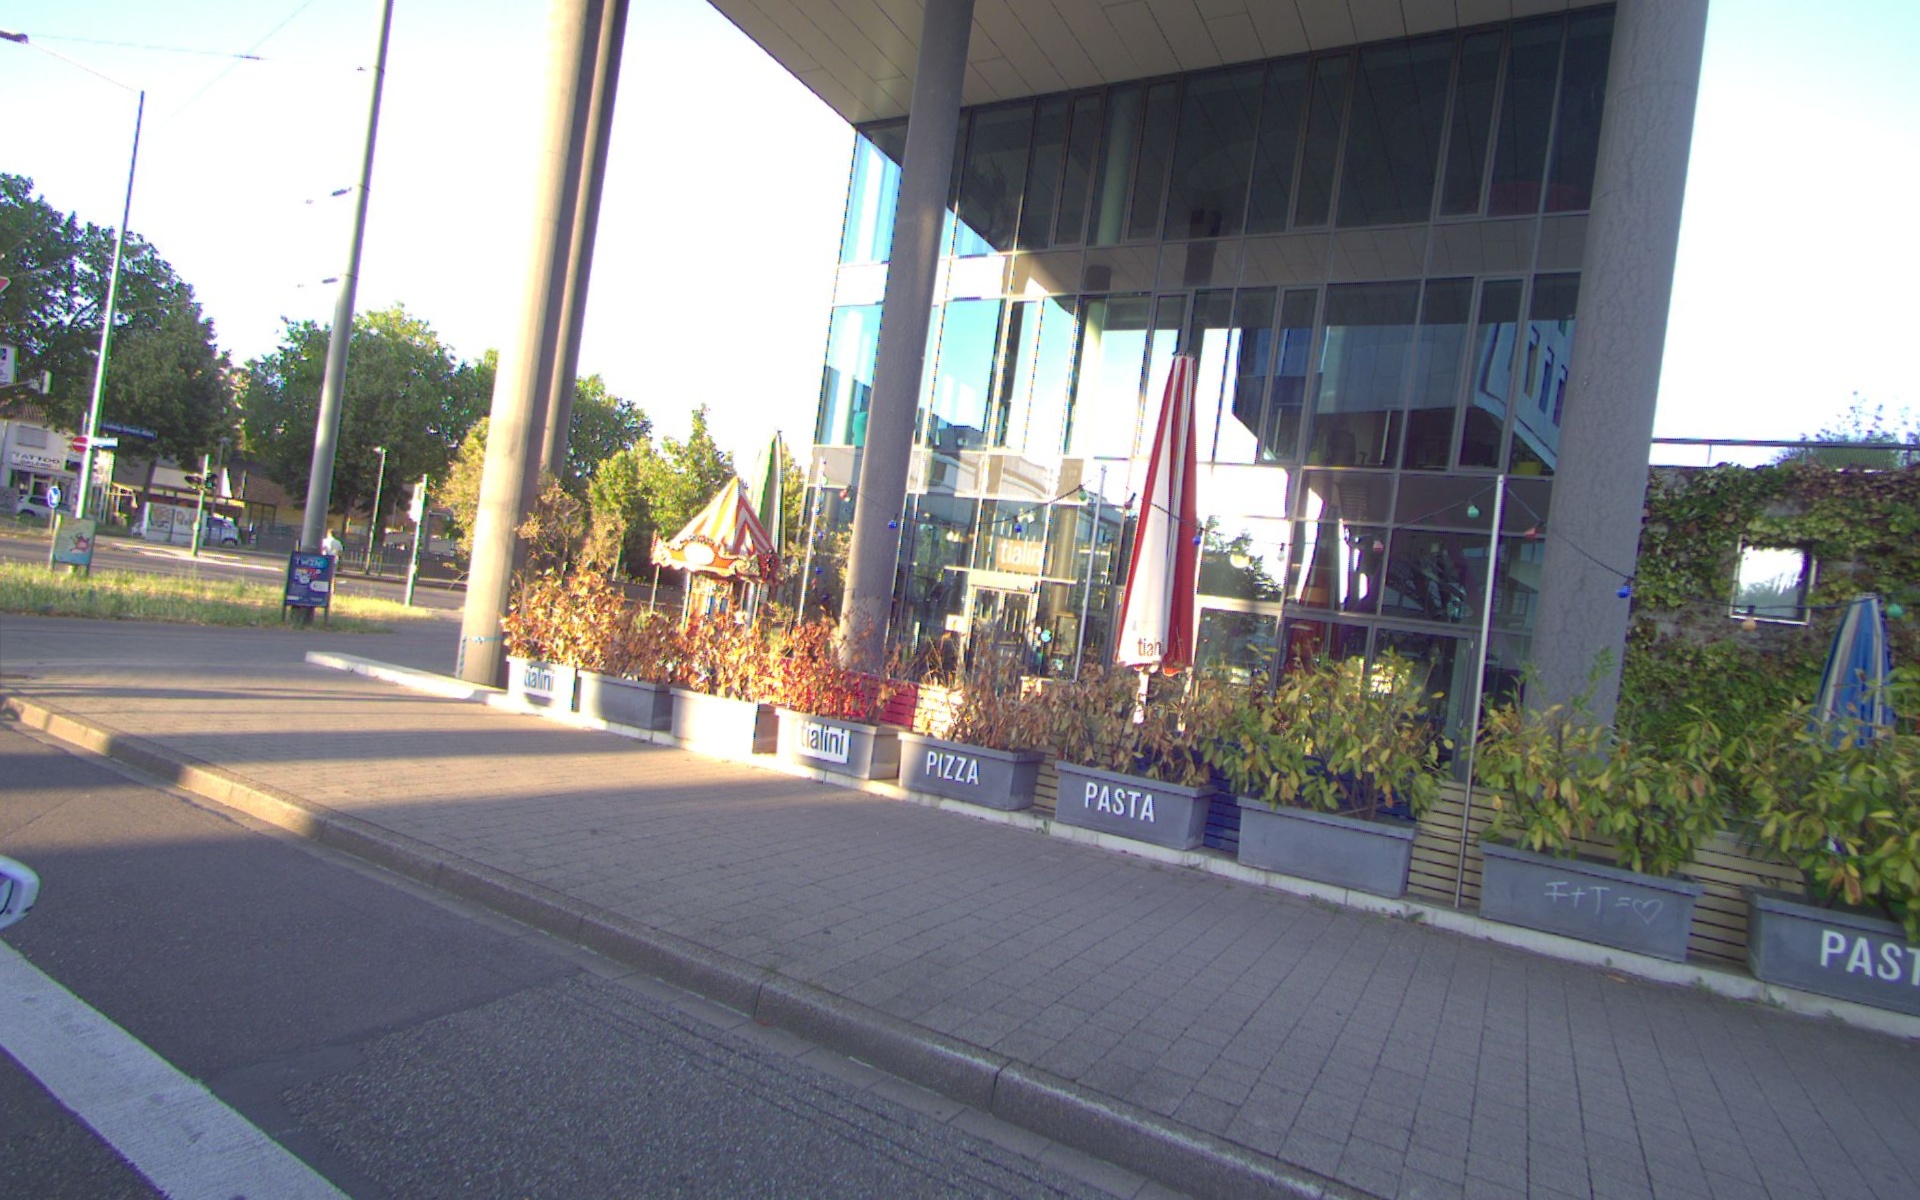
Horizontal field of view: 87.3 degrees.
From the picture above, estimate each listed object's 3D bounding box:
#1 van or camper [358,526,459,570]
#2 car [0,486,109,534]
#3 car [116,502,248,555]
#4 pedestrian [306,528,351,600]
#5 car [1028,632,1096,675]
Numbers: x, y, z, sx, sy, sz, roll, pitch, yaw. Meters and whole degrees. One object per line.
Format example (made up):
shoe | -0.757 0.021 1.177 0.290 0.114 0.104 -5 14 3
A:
van or camper | -43.977 -4.120 80.432 2.229 2.438 6.569 7 -2 36
car | -50.537 -4.976 56.074 1.968 1.868 4.236 7 -2 34
car | -37.374 -3.396 48.433 1.829 1.748 4.547 7 -2 27
pedestrian | -16.864 -0.963 26.868 0.758 1.812 0.794 9 -1 -37
car | 5.731 3.010 55.933 1.826 1.849 4.390 10 0 31
